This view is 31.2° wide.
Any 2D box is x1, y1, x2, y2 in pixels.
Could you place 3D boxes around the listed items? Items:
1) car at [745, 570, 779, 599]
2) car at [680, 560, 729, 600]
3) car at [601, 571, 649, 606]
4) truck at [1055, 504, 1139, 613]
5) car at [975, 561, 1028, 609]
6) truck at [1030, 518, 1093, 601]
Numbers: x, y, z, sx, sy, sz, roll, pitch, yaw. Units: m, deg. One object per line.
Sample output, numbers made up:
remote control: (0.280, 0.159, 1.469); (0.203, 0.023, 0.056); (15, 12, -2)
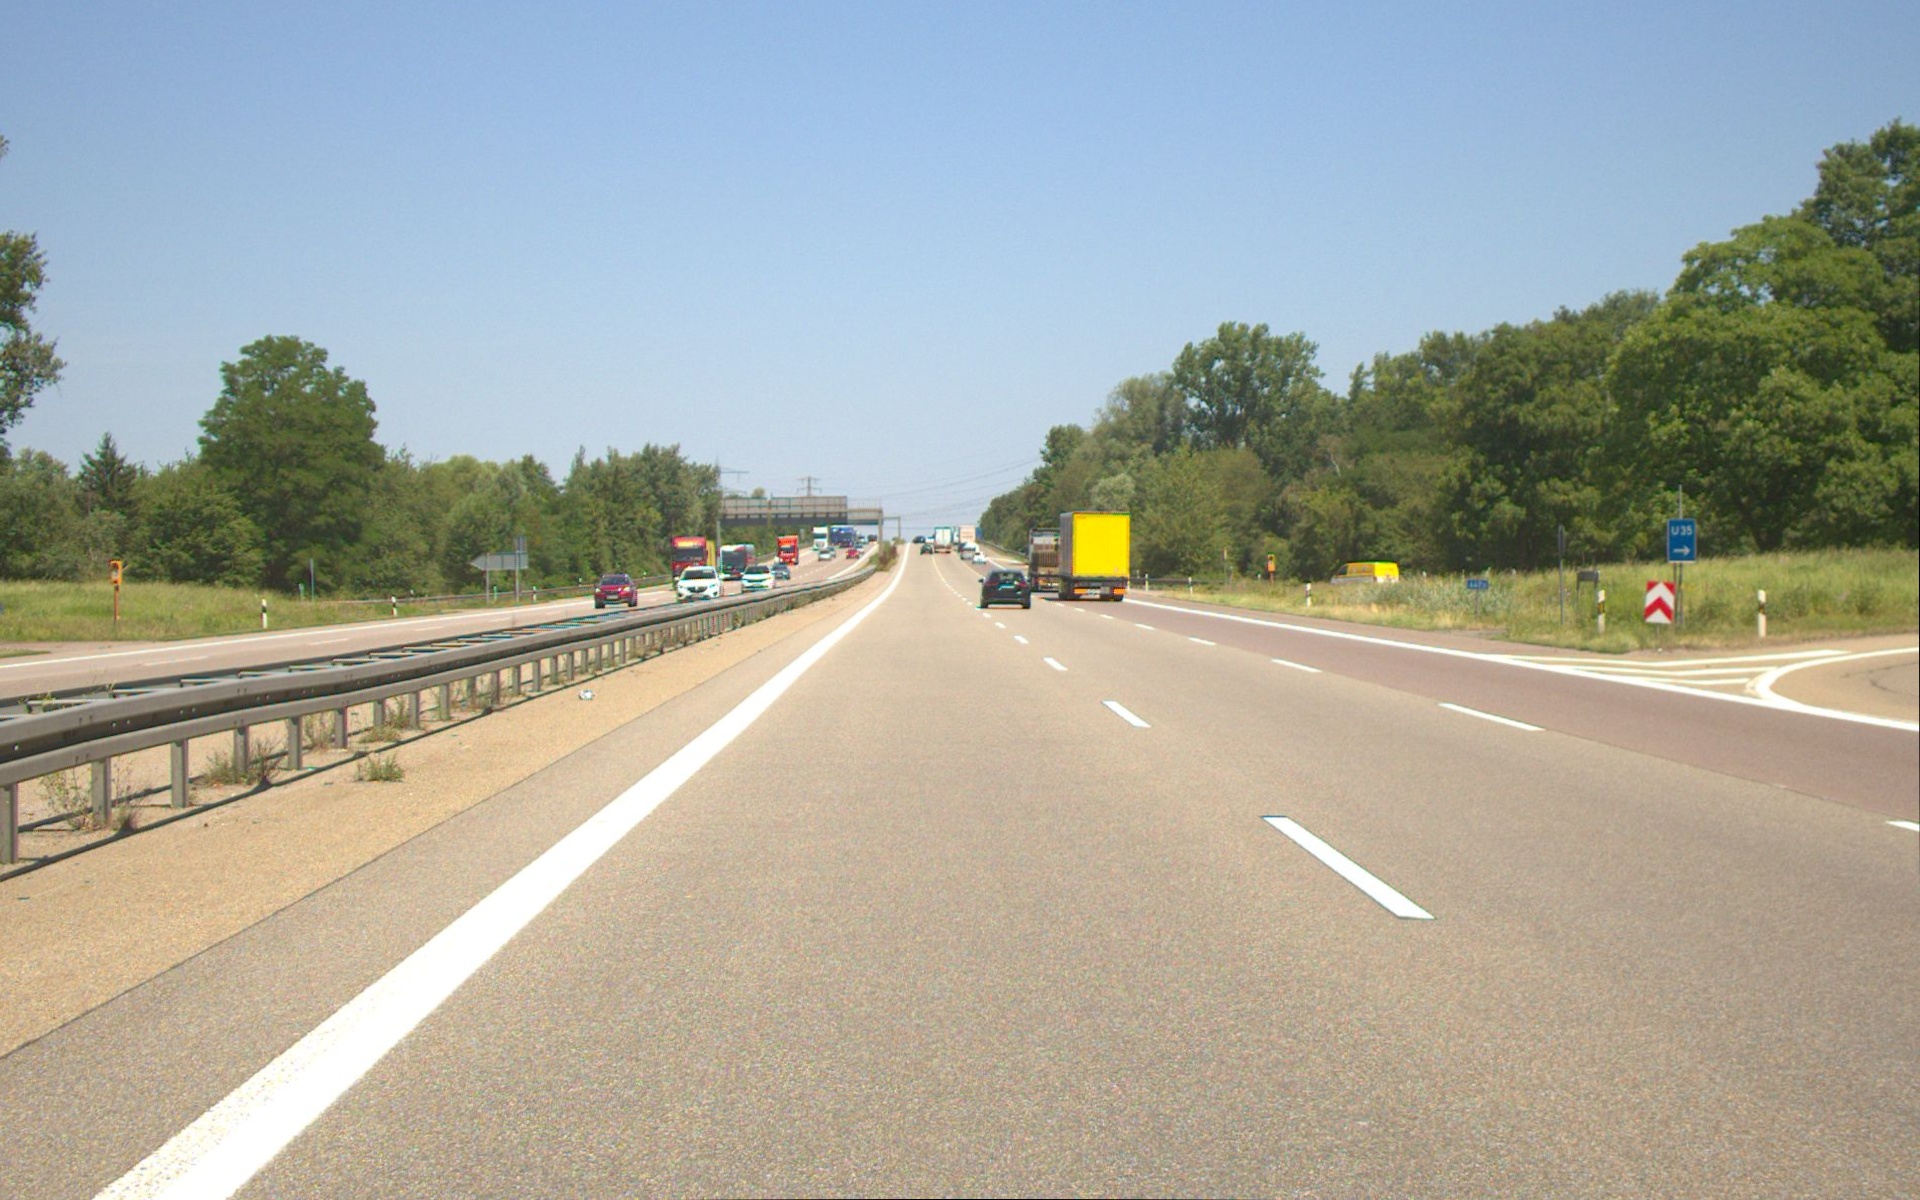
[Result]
car: (-11.906, -0.928, 206.753); (1.810, 1.687, 5.125); (-1, 1, -1)
car: (-10.907, -0.871, 146.808); (1.762, 1.687, 4.819); (-1, 1, -1)
car: (-15.232, -0.535, 156.587); (1.762, 1.490, 4.075); (-2, 1, -1)
truck: (6.385, -1.960, 162.884); (3.377, 4.864, 15.086); (1, 1, 0)
car: (1.516, -0.564, 126.743); (1.827, 1.700, 4.000); (1, 1, -1)
truck: (6.123, -2.454, 209.570); (3.367, 4.864, 15.086); (1, 1, 0)
